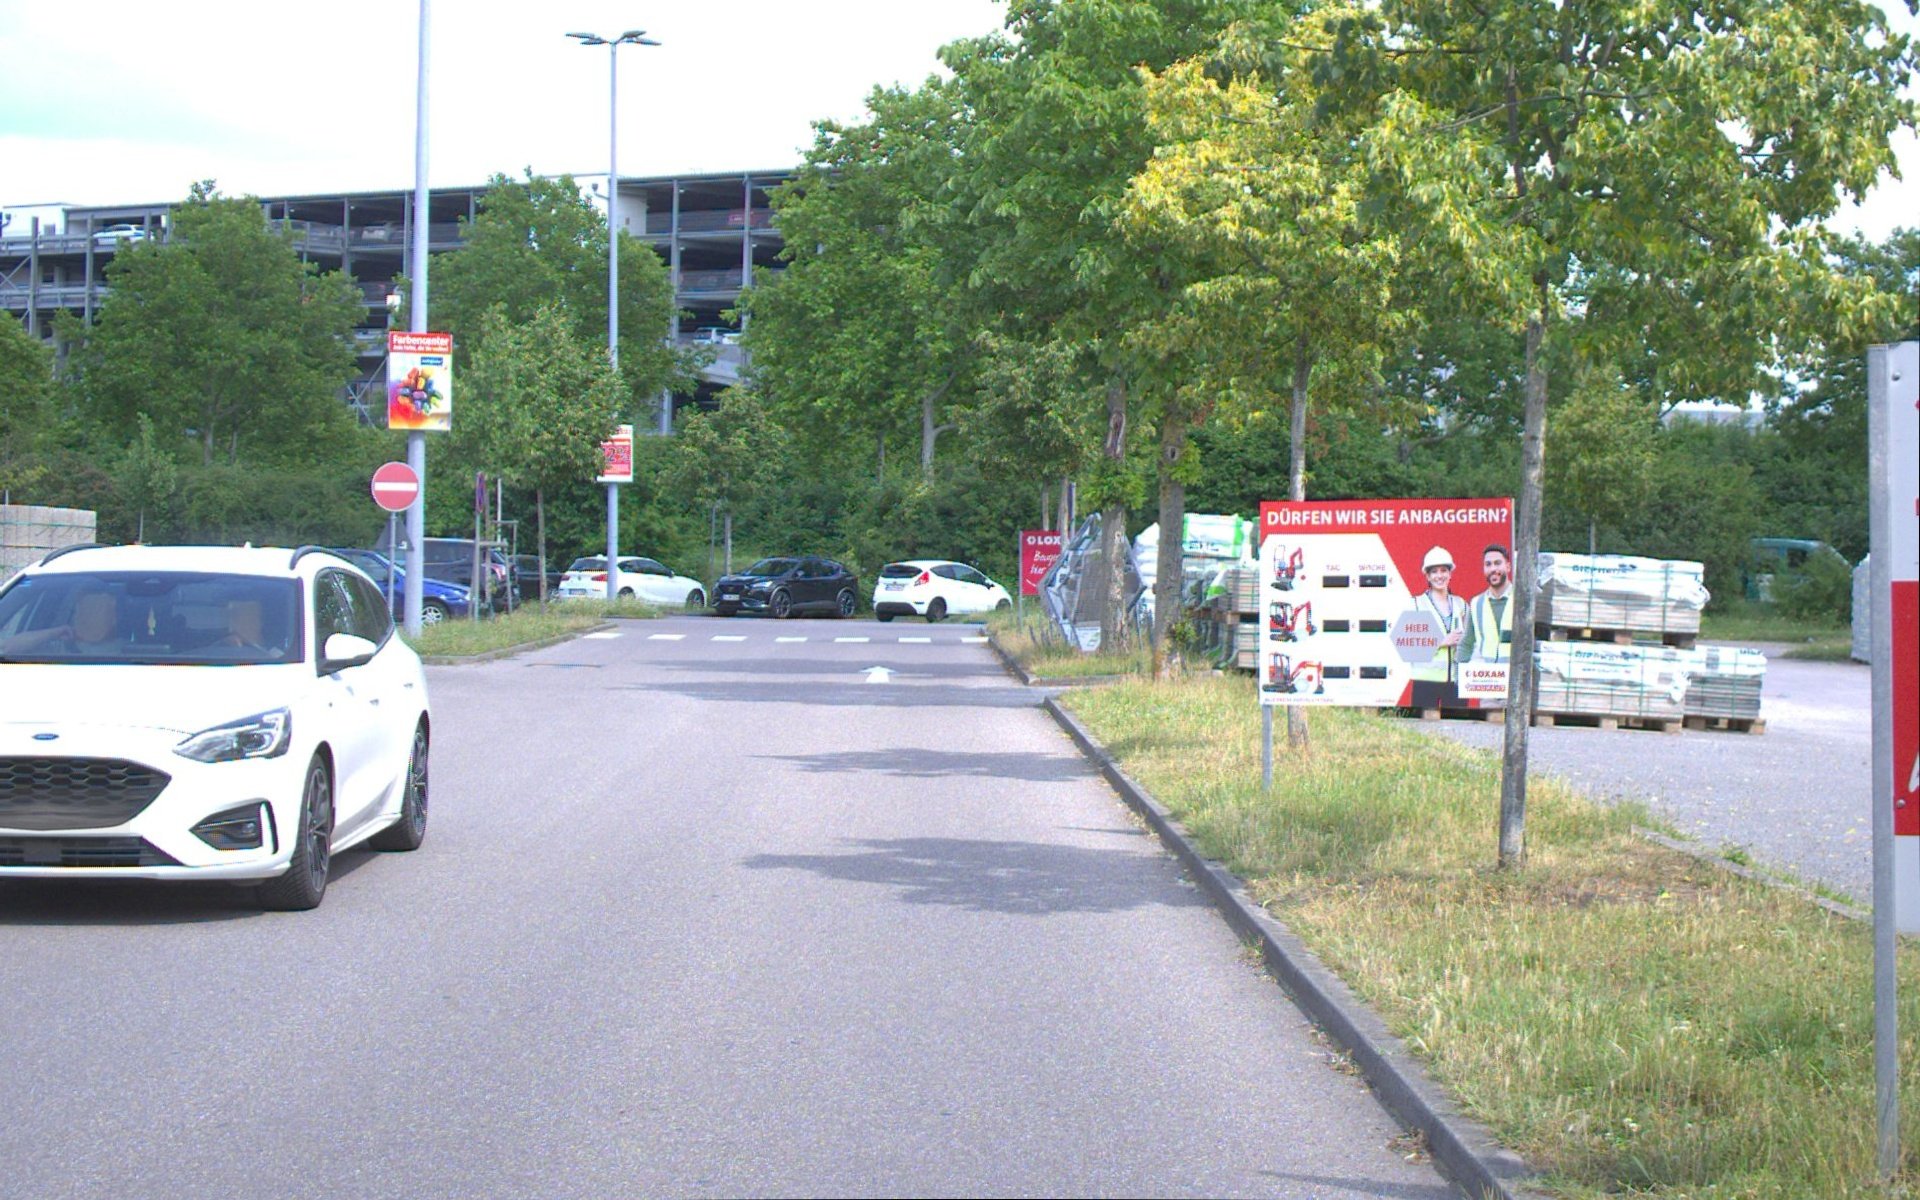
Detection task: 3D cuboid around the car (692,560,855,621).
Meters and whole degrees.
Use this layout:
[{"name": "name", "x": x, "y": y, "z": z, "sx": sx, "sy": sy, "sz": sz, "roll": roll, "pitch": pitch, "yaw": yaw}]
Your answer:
[{"name": "car", "x": -4.500, "y": -0.215, "z": 83.553, "sx": 1.731, "sy": 1.405, "sz": 4.234, "roll": 2, "pitch": 1, "yaw": 34}]

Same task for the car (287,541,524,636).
[{"name": "car", "x": -10.035, "y": -0.214, "z": 62.375, "sx": 3.950, "sy": 1.619, "sz": 1.736, "roll": 1, "pitch": 0, "yaw": 1}]

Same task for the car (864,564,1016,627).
[{"name": "car", "x": -0.453, "y": -0.094, "z": 80.640, "sx": 1.668, "sy": 1.407, "sz": 3.549, "roll": 2, "pitch": 1, "yaw": 38}]

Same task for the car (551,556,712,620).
[{"name": "car", "x": -8.196, "y": -0.278, "z": 86.141, "sx": 1.688, "sy": 1.504, "sz": 4.073, "roll": -3, "pitch": -2, "yaw": 37}]

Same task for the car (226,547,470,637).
[{"name": "car", "x": -10.160, "y": -0.148, "z": 57.244, "sx": 3.750, "sy": 1.363, "sz": 1.621, "roll": 2, "pitch": 1, "yaw": -1}]

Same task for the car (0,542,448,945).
[{"name": "car", "x": -3.444, "y": 0.503, "z": 15.034, "sx": 1.803, "sy": 1.459, "sz": 4.329, "roll": 2, "pitch": 1, "yaw": -1}]
